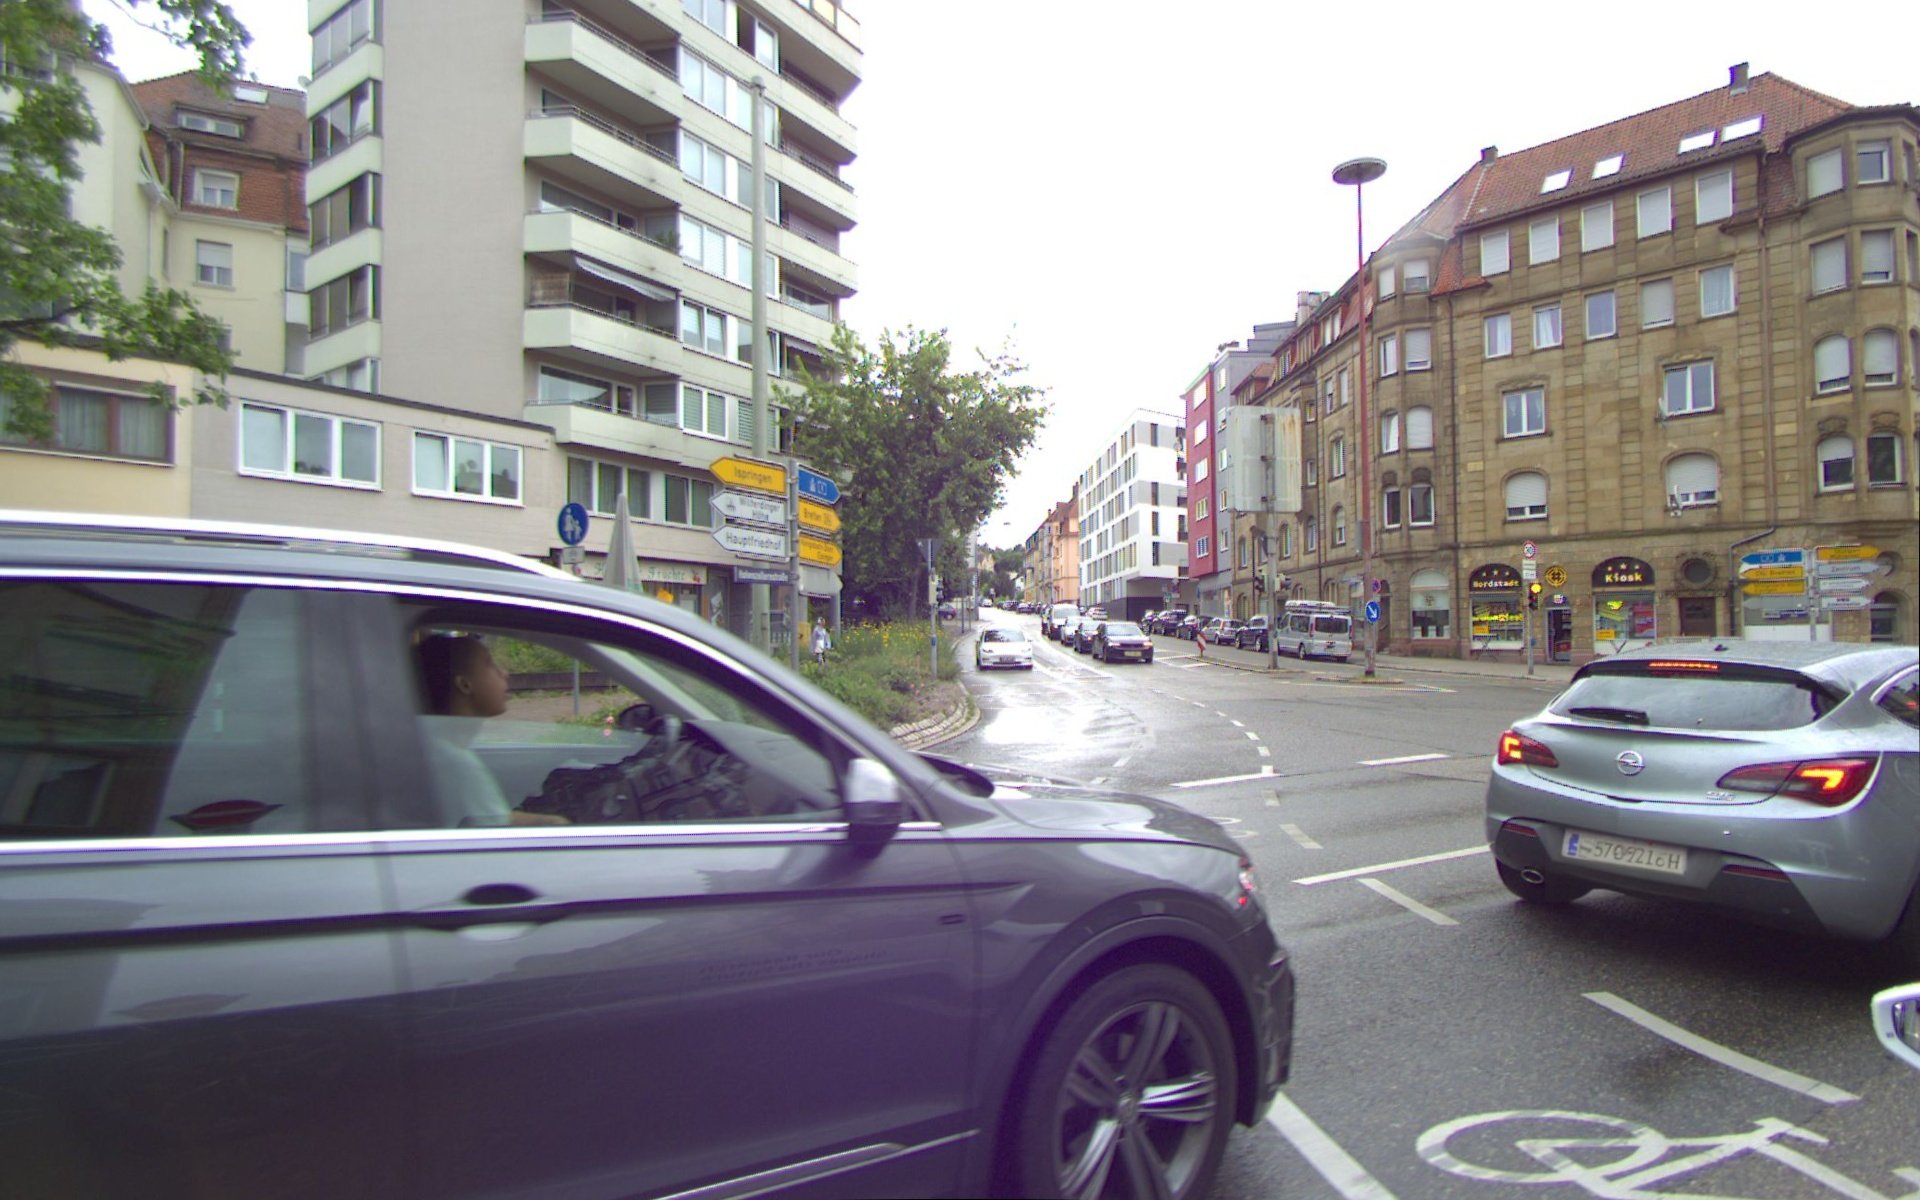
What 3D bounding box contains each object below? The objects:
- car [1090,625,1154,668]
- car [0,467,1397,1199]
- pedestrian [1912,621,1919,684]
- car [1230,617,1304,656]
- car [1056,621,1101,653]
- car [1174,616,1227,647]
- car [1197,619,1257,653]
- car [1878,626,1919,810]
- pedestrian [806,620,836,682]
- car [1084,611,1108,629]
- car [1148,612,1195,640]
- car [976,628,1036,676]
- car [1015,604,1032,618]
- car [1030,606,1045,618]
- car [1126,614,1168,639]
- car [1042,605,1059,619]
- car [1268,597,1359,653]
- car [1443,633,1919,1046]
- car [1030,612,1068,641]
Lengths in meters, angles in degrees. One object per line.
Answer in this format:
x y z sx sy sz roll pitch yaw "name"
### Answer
6.040 1.706 37.804 1.732 1.511 4.024 0 -1 -1 "car"
-1.010 0.680 2.413 4.165 1.666 1.743 1 -1 -32 "car"
27.803 1.510 28.932 0.517 1.797 0.689 1 -1 43 "pedestrian"
14.665 1.695 48.192 1.962 1.726 4.380 2 -1 -3 "car"
5.949 1.836 50.855 1.704 1.558 4.302 0 -1 -1 "car"
14.426 1.882 60.416 1.962 1.726 4.214 2 -1 -3 "car"
14.640 1.956 55.318 1.962 1.726 4.214 2 -1 -3 "car"
10.222 1.098 9.066 4.167 1.555 1.743 3 -2 -31 "car"
-3.928 1.426 28.345 0.612 1.715 0.620 1 -1 13 "pedestrian"
13.788 2.047 102.053 1.665 1.726 4.214 2 -1 -3 "car"
13.942 1.681 66.417 1.962 1.726 4.214 2 -1 -3 "car"
1.563 1.791 35.537 1.876 1.511 4.393 1 -1 -1 "car"
8.436 1.511 133.494 1.665 1.726 4.214 2 -1 -3 "car"
11.204 1.752 145.192 1.665 1.726 4.214 2 -1 -3 "car"
13.406 1.876 72.165 1.962 1.726 4.214 2 -1 -3 "car"
11.977 1.604 133.159 1.665 1.726 4.214 2 -1 -3 "car"
15.110 1.066 43.200 1.962 2.197 4.802 2 -1 -3 "car"
4.726 0.963 5.497 4.131 1.502 1.744 2 -2 -30 "car"
5.118 1.539 58.216 1.704 1.558 4.155 3 -2 -1 "car"
